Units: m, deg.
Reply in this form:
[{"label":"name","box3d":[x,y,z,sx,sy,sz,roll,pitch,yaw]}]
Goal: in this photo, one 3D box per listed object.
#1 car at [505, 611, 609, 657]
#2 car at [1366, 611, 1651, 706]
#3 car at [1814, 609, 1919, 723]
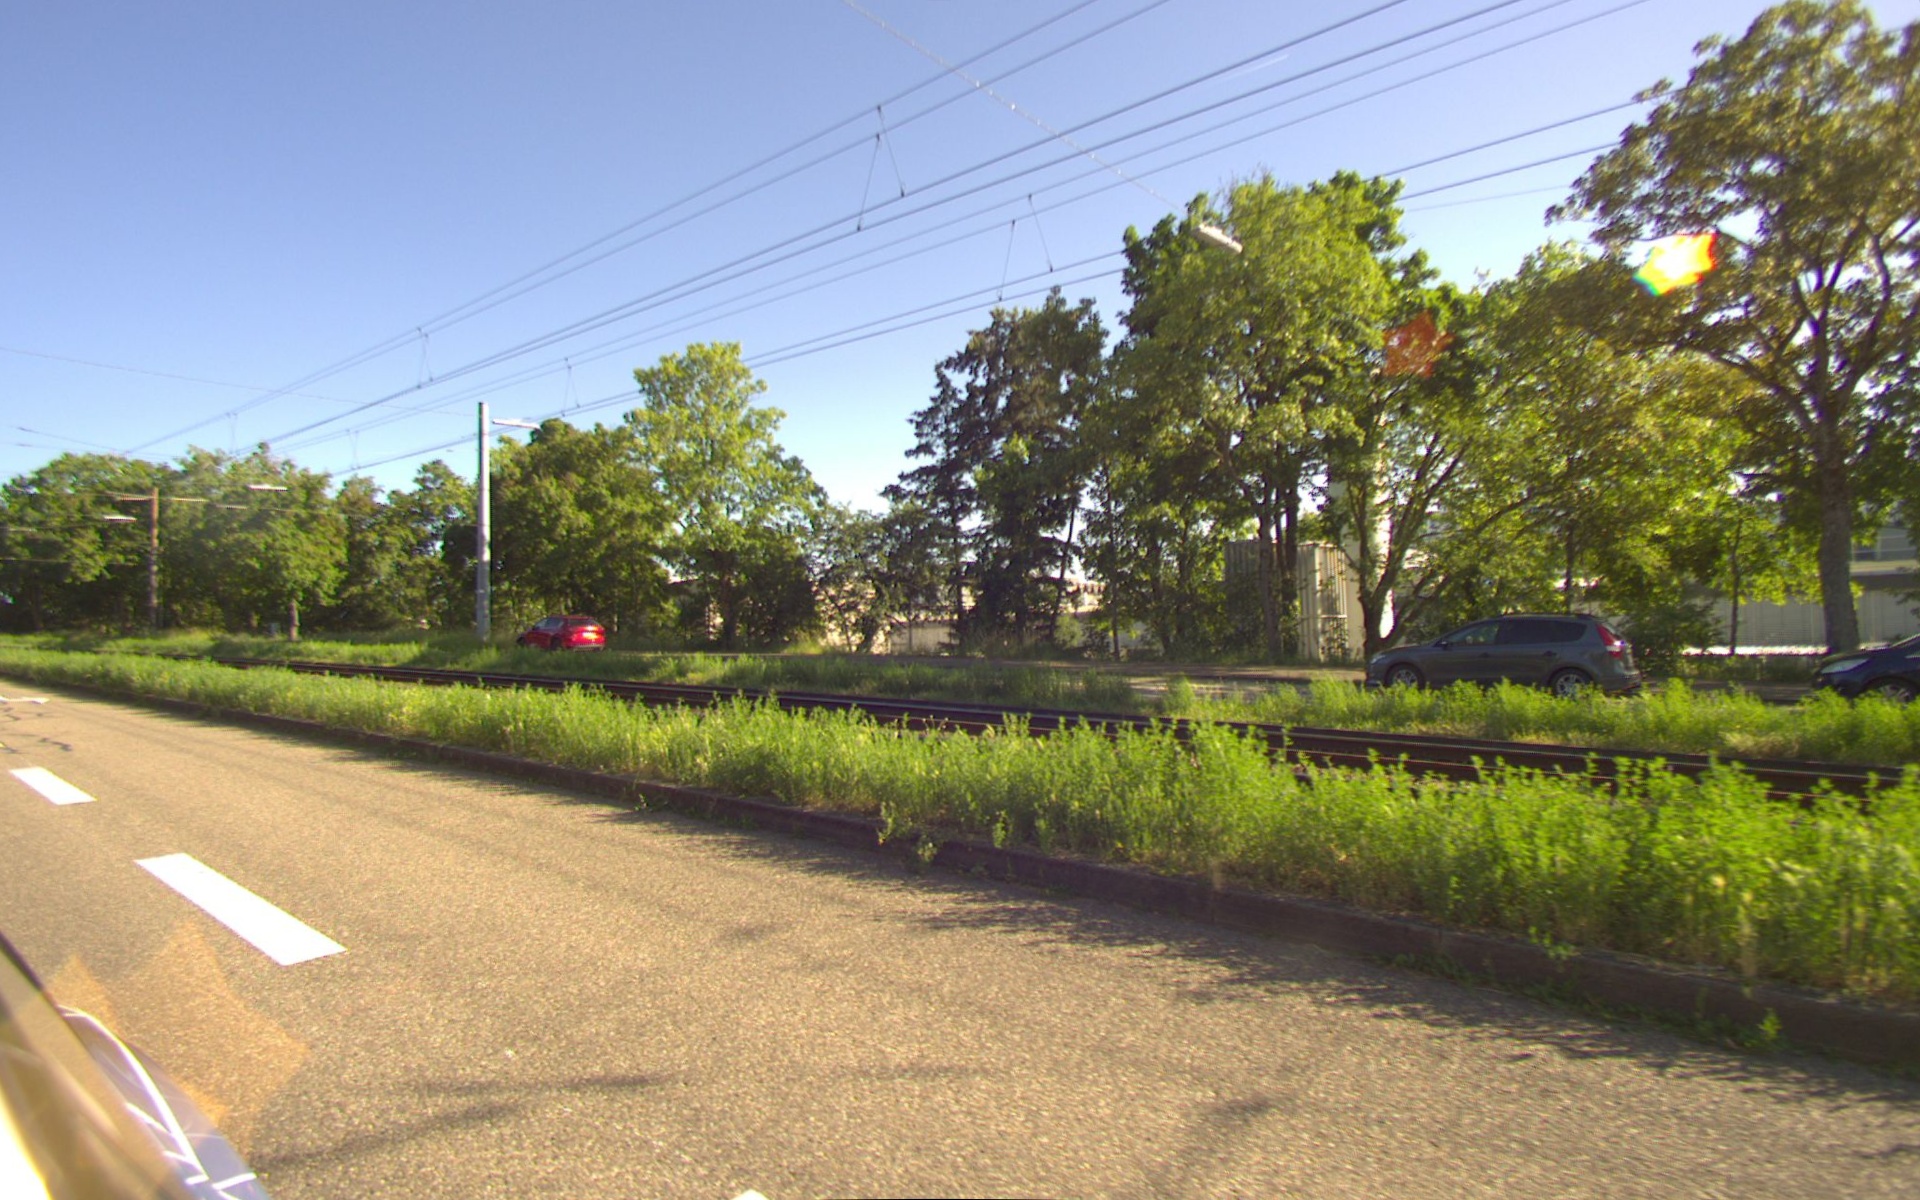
[{"label":"car","box3d":[-16.051,1.338,40.203,4.463,1.715,1.984,-2,-2,40]},{"label":"car","box3d":[9.898,0.999,18.444,4.323,1.505,1.718,-1,0,39]},{"label":"car","box3d":[14.805,0.894,14.046,4.431,1.586,1.973,-2,-2,40]}]
